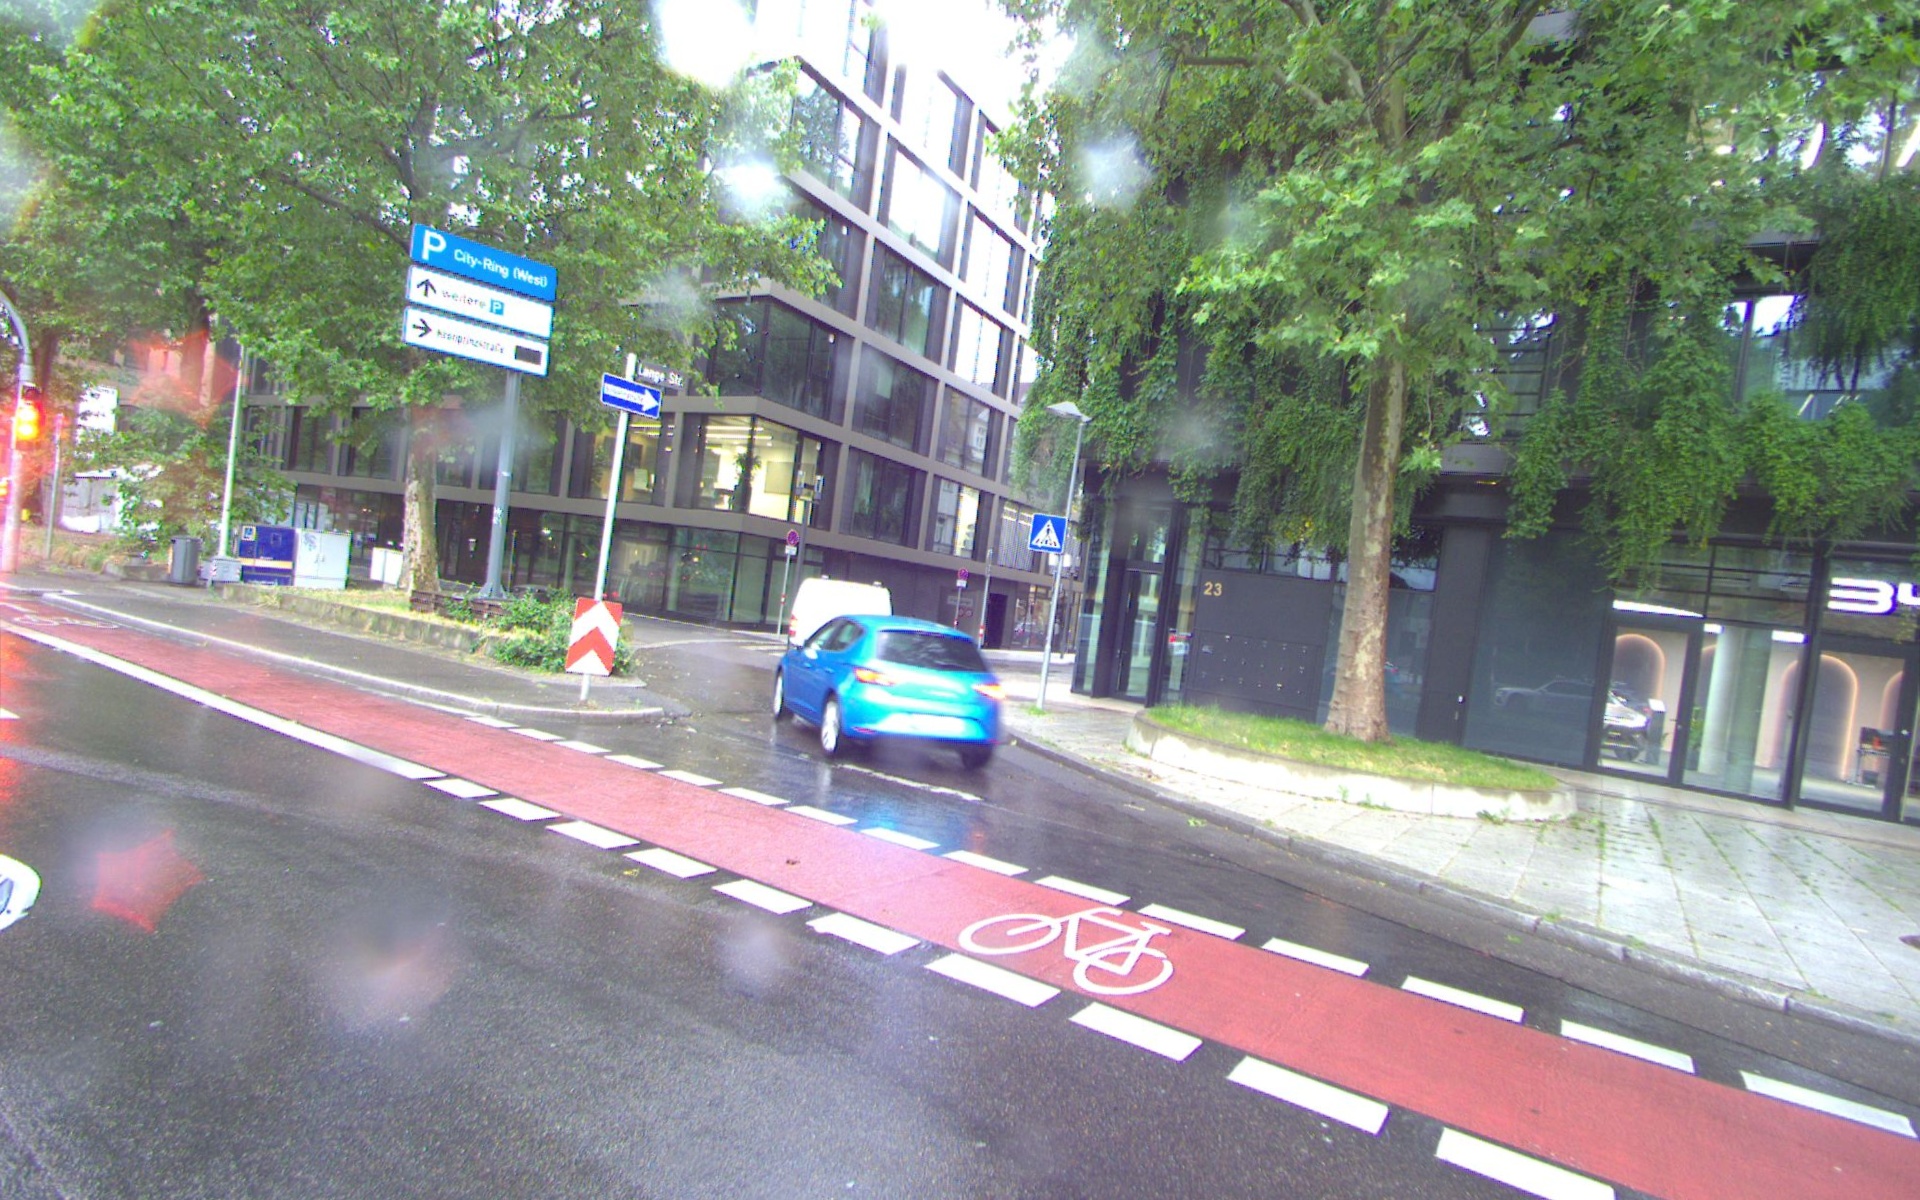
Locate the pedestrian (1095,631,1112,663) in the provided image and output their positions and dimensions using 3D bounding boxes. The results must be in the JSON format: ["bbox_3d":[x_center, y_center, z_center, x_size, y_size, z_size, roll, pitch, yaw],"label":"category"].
[{"bbox_3d":[7.324,2.398,51.197,0.537,1.579,0.503,6,-1,29],"label":"pedestrian"}]

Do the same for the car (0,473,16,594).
[{"bbox_3d":[-12.171,-0.723,10.840,3.935,1.717,1.881,6,-2,33],"label":"car"}]

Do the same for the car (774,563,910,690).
[{"bbox_3d":[-2.161,0.500,19.827,1.890,1.969,4.964,7,-1,0],"label":"car"}]

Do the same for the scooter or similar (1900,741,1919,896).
[{"bbox_3d":[8.495,1.881,8.101,0.528,1.297,1.184,7,-1,-8],"label":"scooter or similar"}]

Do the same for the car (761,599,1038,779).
[{"bbox_3d":[-0.888,0.855,11.256,1.777,1.453,4.042,7,-1,-22],"label":"car"}]

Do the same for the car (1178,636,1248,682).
[{"bbox_3d":[11.073,2.586,43.826,1.814,1.607,3.997,6,-2,30],"label":"car"}]
